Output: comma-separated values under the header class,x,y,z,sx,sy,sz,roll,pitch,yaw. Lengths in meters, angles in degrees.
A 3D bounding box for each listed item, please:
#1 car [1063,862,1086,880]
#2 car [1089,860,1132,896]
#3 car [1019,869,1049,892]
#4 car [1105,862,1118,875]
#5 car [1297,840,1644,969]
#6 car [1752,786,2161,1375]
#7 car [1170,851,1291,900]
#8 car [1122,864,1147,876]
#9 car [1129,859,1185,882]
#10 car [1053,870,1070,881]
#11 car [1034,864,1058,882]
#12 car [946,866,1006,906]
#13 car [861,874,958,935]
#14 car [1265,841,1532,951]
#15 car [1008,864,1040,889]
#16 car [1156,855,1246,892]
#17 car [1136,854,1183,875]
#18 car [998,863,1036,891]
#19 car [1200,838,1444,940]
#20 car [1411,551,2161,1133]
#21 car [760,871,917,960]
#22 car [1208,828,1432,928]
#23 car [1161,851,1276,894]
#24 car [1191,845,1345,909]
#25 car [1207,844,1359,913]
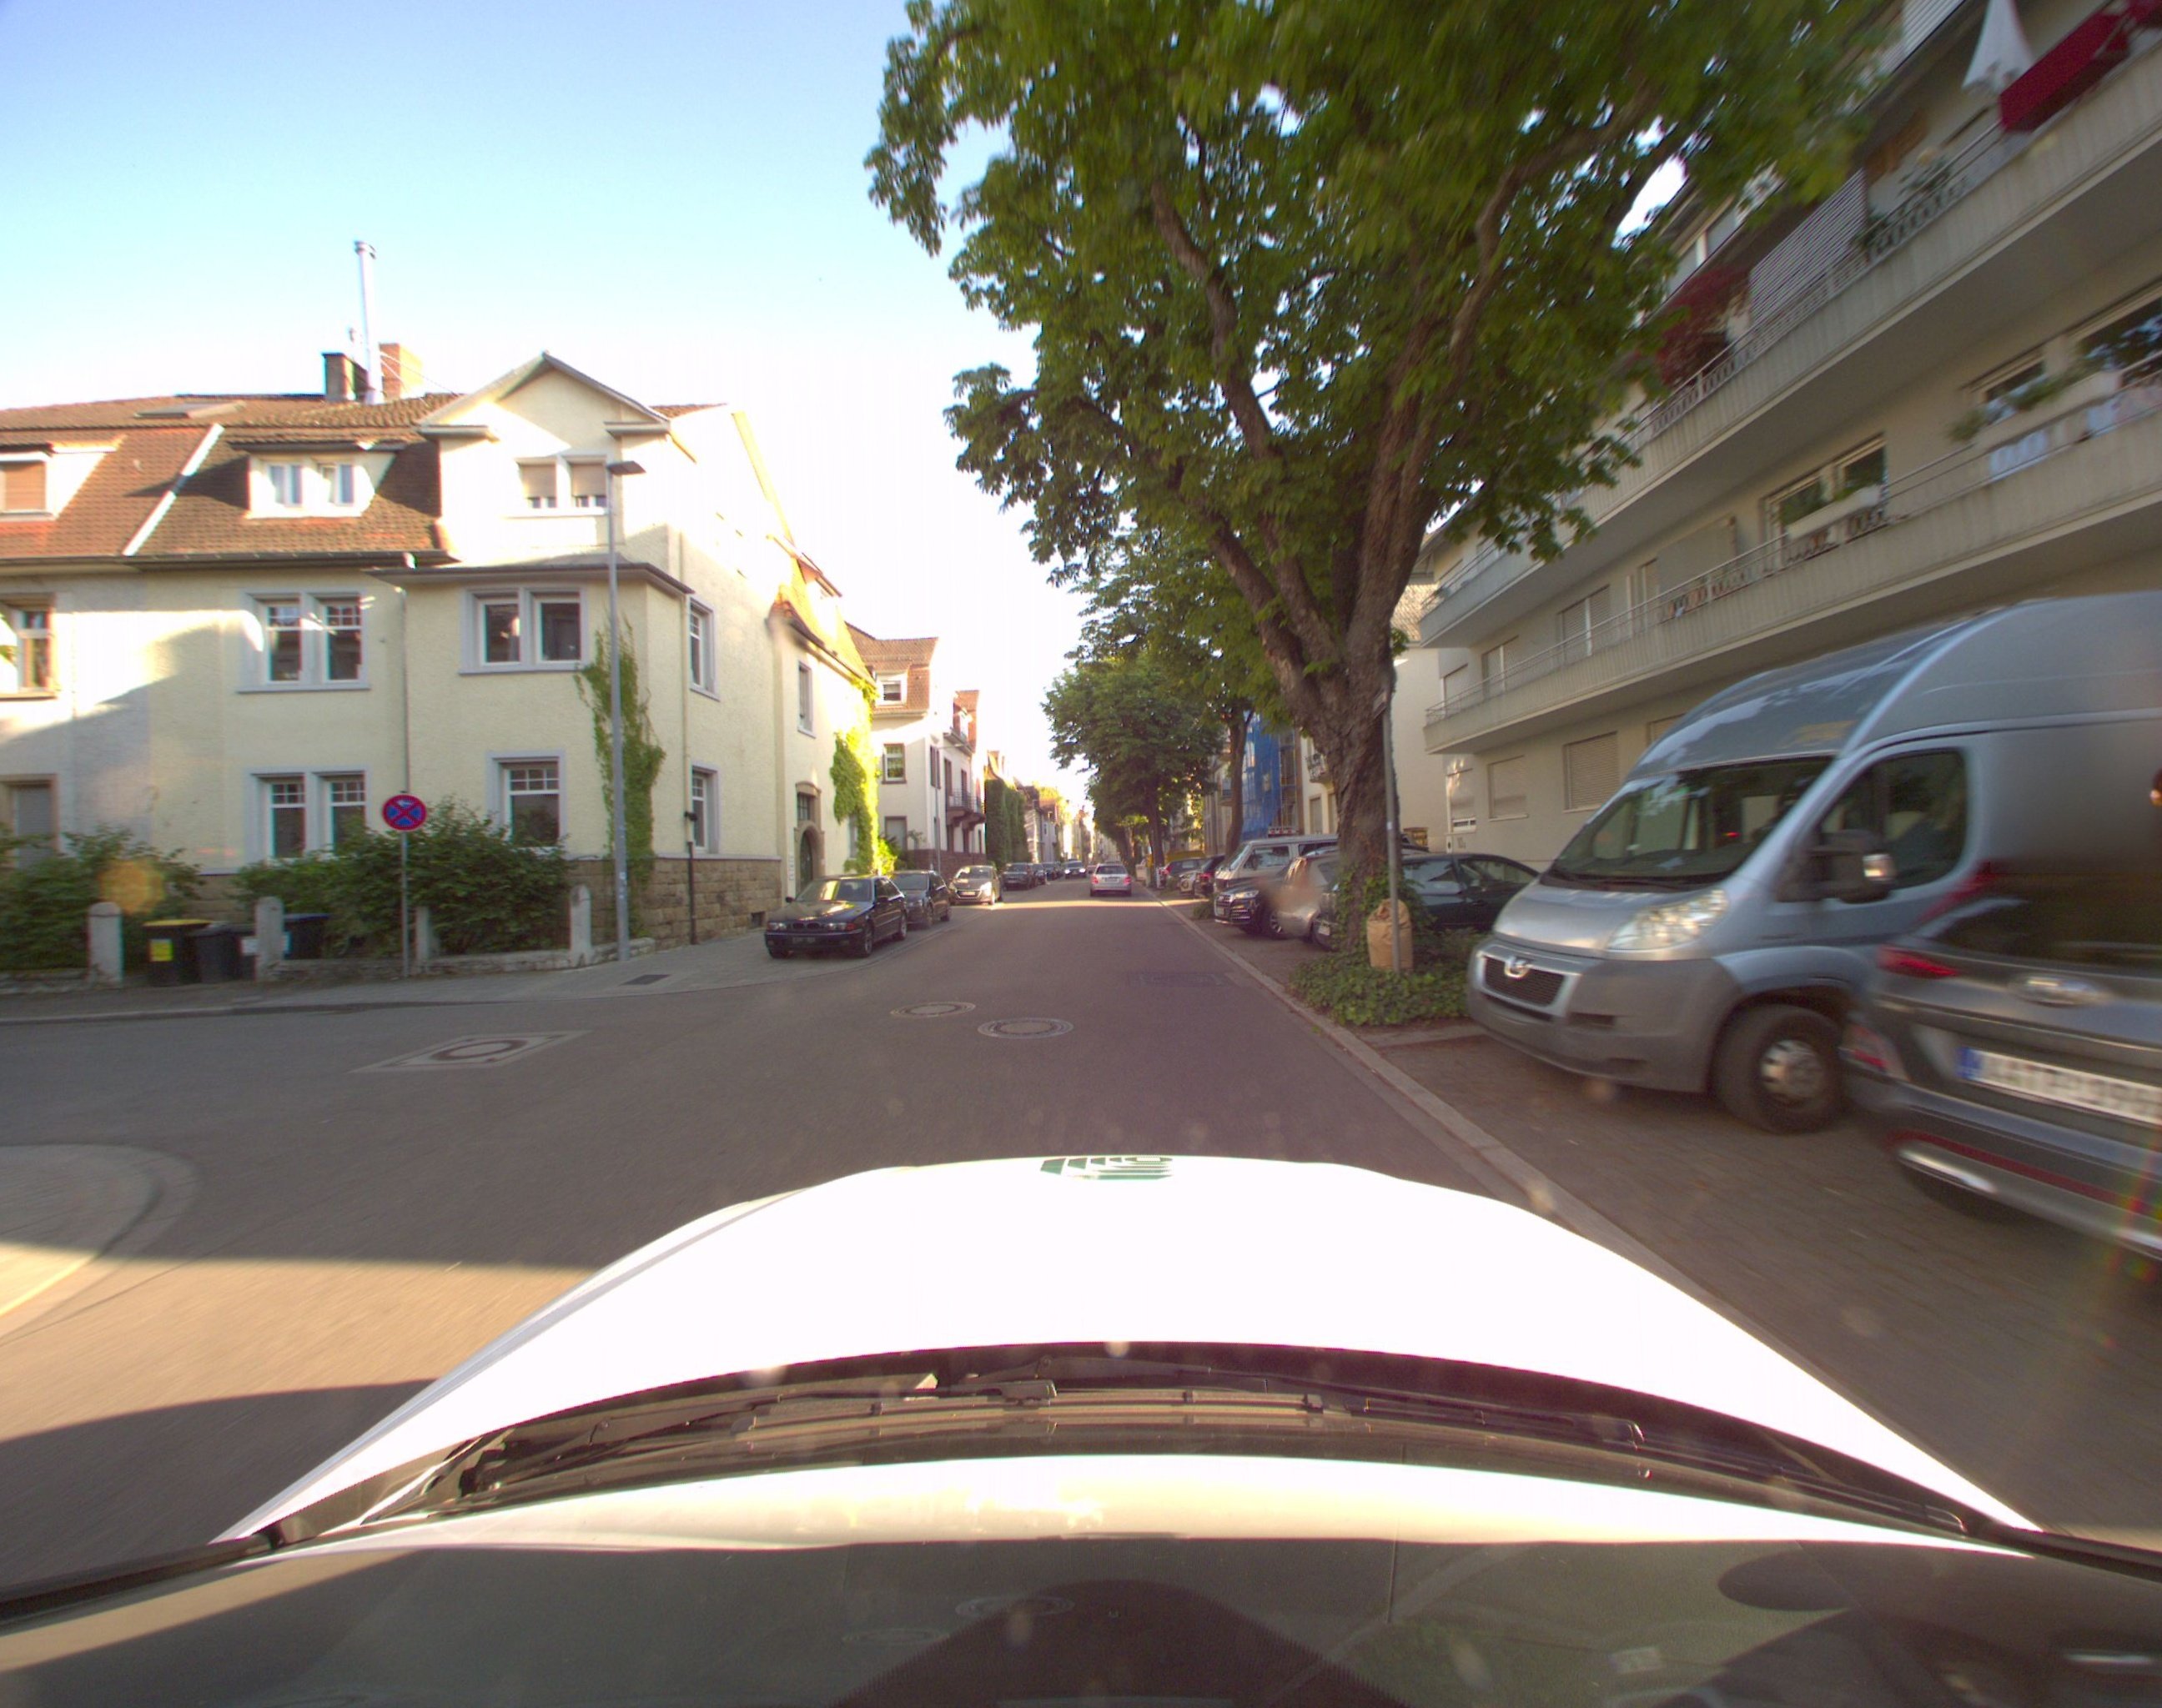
class,x,y,z,sx,sy,sz,roll,pitch,yaw
car,-0.519,1.477,70.582,1.765,1.448,4.001,-2,-1,1
car,1.312,1.057,35.630,1.777,1.437,3.852,-1,-2,2
car,-3.184,1.799,55.973,1.787,1.461,4.775,-1,-1,-1
car,3.921,1.833,104.476,1.617,1.570,3.682,-2,-1,2
car,4.972,0.646,10.784,3.708,1.431,1.758,-2,-3,0
car,4.927,0.486,2.527,4.175,1.568,1.758,-4,-1,0
car,5.503,0.788,30.403,4.141,1.539,1.851,-4,-1,1
car,9.175,2.797,139.912,4.207,1.896,1.905,-3,-1,-1
car,5.857,1.286,62.934,4.126,1.535,1.688,-3,-1,3
car,-2.321,2.556,97.091,1.646,1.324,4.049,-1,-2,4
car,-2.847,1.515,67.048,1.643,1.421,4.100,-1,-1,2
car,-3.992,1.206,31.599,1.647,1.447,4.006,-1,-1,2
car,-4.472,1.273,21.817,1.647,1.415,4.168,-1,-1,1
car,5.067,0.666,13.355,3.708,1.554,1.639,-2,-2,0
car,-3.465,1.385,50.035,1.648,1.447,3.842,-1,-1,-1
car,5.552,0.909,38.137,3.970,1.492,1.852,-4,-1,3
car,7.544,0.999,78.711,4.299,1.807,2.000,-3,-1,1
car,-3.557,1.248,45.724,1.647,1.486,3.766,-1,-1,2
car,4.613,0.655,15.914,4.170,1.724,1.762,-2,-2,-6
car,5.167,-0.105,5.306,5.078,2.902,2.076,-3,-1,0
car,-4.576,1.092,16.101,1.704,1.470,4.632,-1,-1,0
car,5.274,0.526,18.406,4.456,2.014,1.895,-2,-1,-1
car,5.934,0.816,35.546,4.701,1.535,1.851,-4,-1,1
car,5.694,0.699,25.205,4.316,1.683,1.706,-3,-1,1
car,5.696,0.681,23.334,3.931,1.683,1.707,-3,-1,4
